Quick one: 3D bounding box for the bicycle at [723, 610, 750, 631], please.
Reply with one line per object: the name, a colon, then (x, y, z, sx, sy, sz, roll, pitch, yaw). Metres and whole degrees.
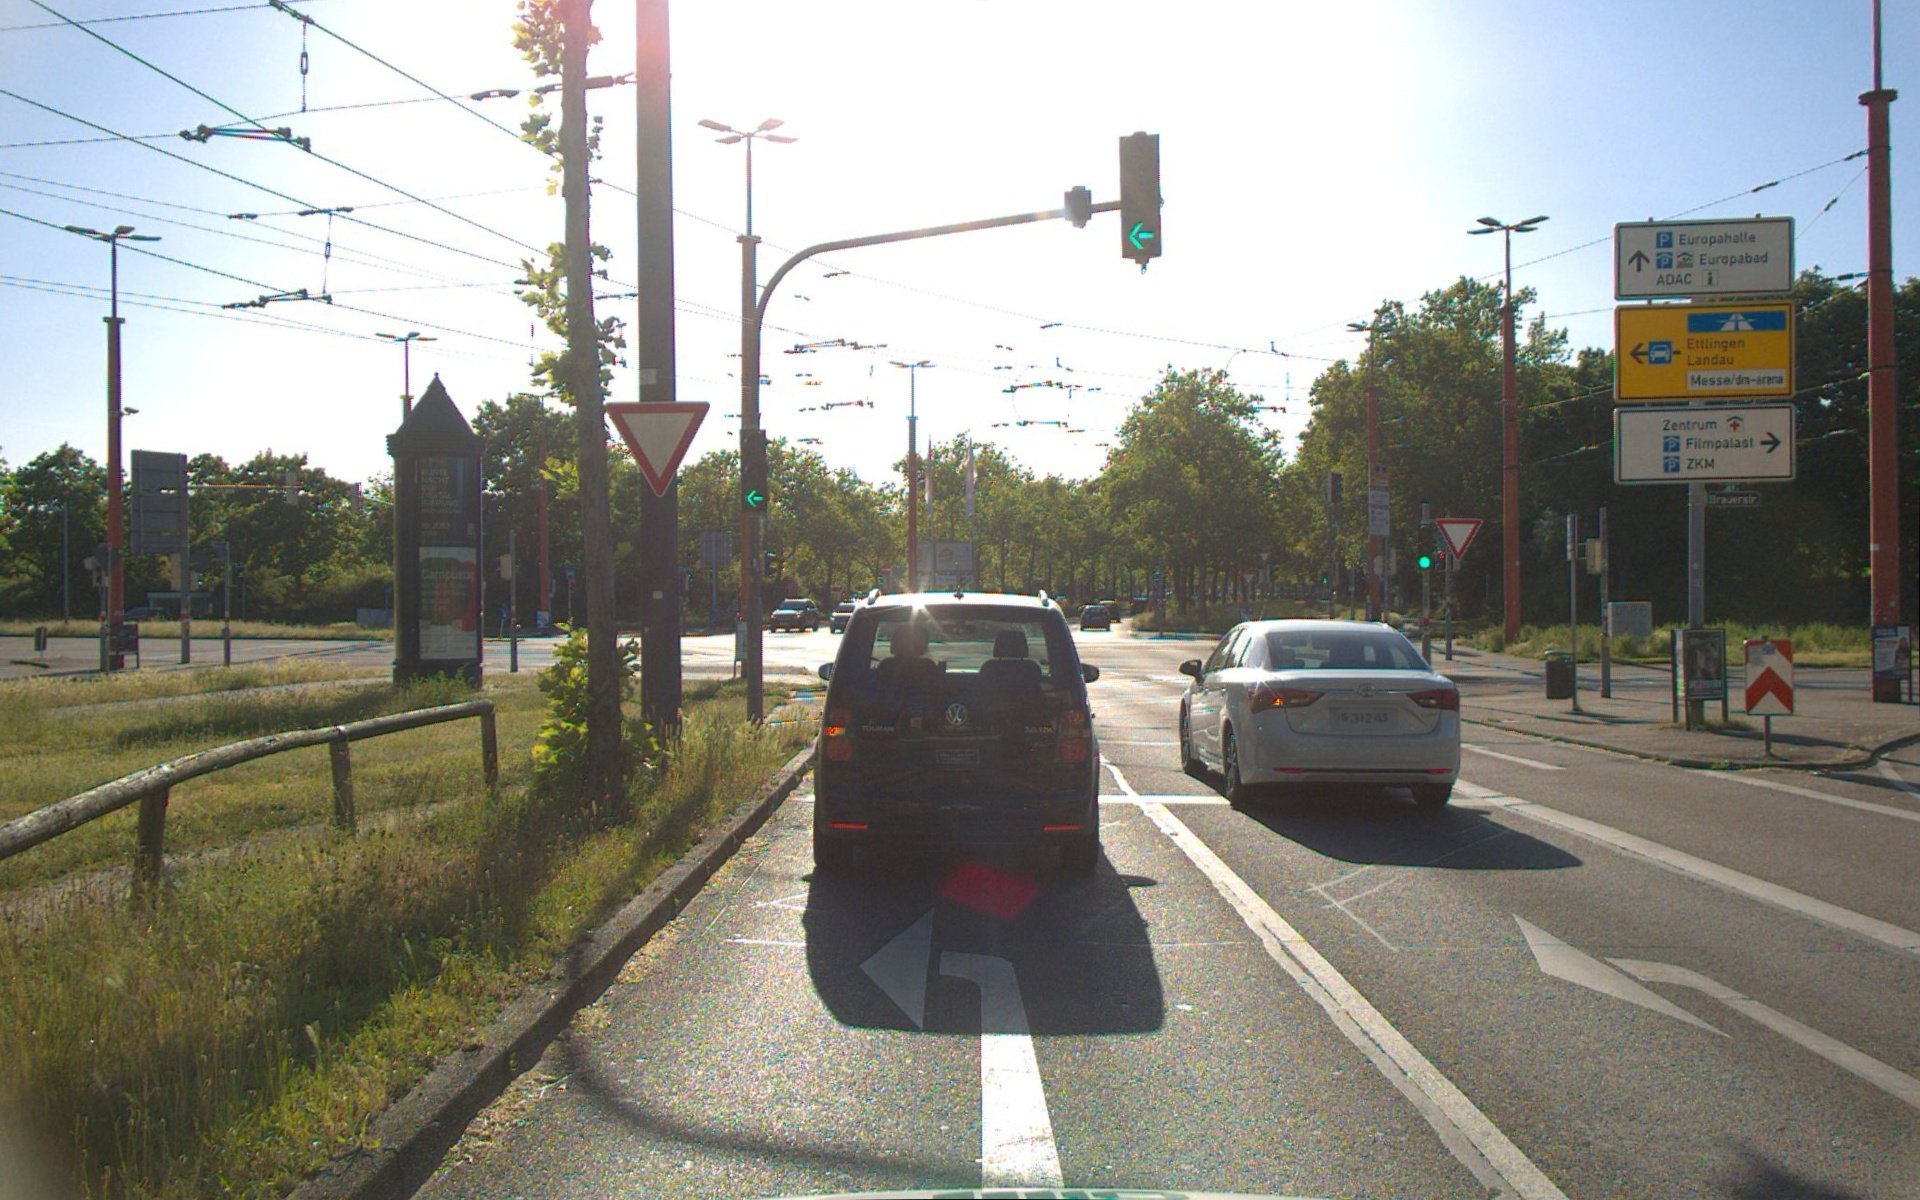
bicycle: (-12.485, 1.122, 92.553, 0.747, 1.110, 2.017, -1, 1, 16)

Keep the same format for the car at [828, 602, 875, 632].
car: (-5.856, 0.895, 89.864, 1.730, 1.565, 4.095, 0, 0, 9)

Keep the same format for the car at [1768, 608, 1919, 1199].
car: (3.231, 0.781, 2.520, 1.699, 1.508, 4.621, 0, 0, -1)

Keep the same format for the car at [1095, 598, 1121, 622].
car: (10.771, 0.726, 120.453, 1.833, 1.655, 4.002, 1, -1, 5)

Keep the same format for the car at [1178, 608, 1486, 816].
car: (3.020, 0.831, 14.334, 1.731, 1.489, 4.366, 0, 0, 1)

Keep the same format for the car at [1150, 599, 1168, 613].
car: (21.287, 0.674, 177.030, 1.752, 1.412, 4.052, 1, 0, 6)

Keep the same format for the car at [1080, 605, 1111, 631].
car: (7.883, 1.006, 96.213, 1.752, 1.412, 4.052, 1, 0, 4)

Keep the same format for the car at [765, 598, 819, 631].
car: (-9.315, 0.795, 92.109, 1.861, 1.757, 4.657, 0, 0, 9)

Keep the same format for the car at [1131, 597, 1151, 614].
car: (17.050, 0.502, 155.966, 1.751, 1.528, 4.053, 1, 0, 7)

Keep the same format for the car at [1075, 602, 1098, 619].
car: (10.990, 0.935, 143.397, 1.752, 1.412, 4.052, 1, 0, 7)

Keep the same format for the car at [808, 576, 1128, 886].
car: (0.019, 0.702, 11.422, 1.731, 1.673, 4.922, 0, 0, -1)

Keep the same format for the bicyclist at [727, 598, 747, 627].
bicyclist: (-12.468, 0.696, 92.629, 0.743, 1.585, 0.982, -1, 0, 16)
